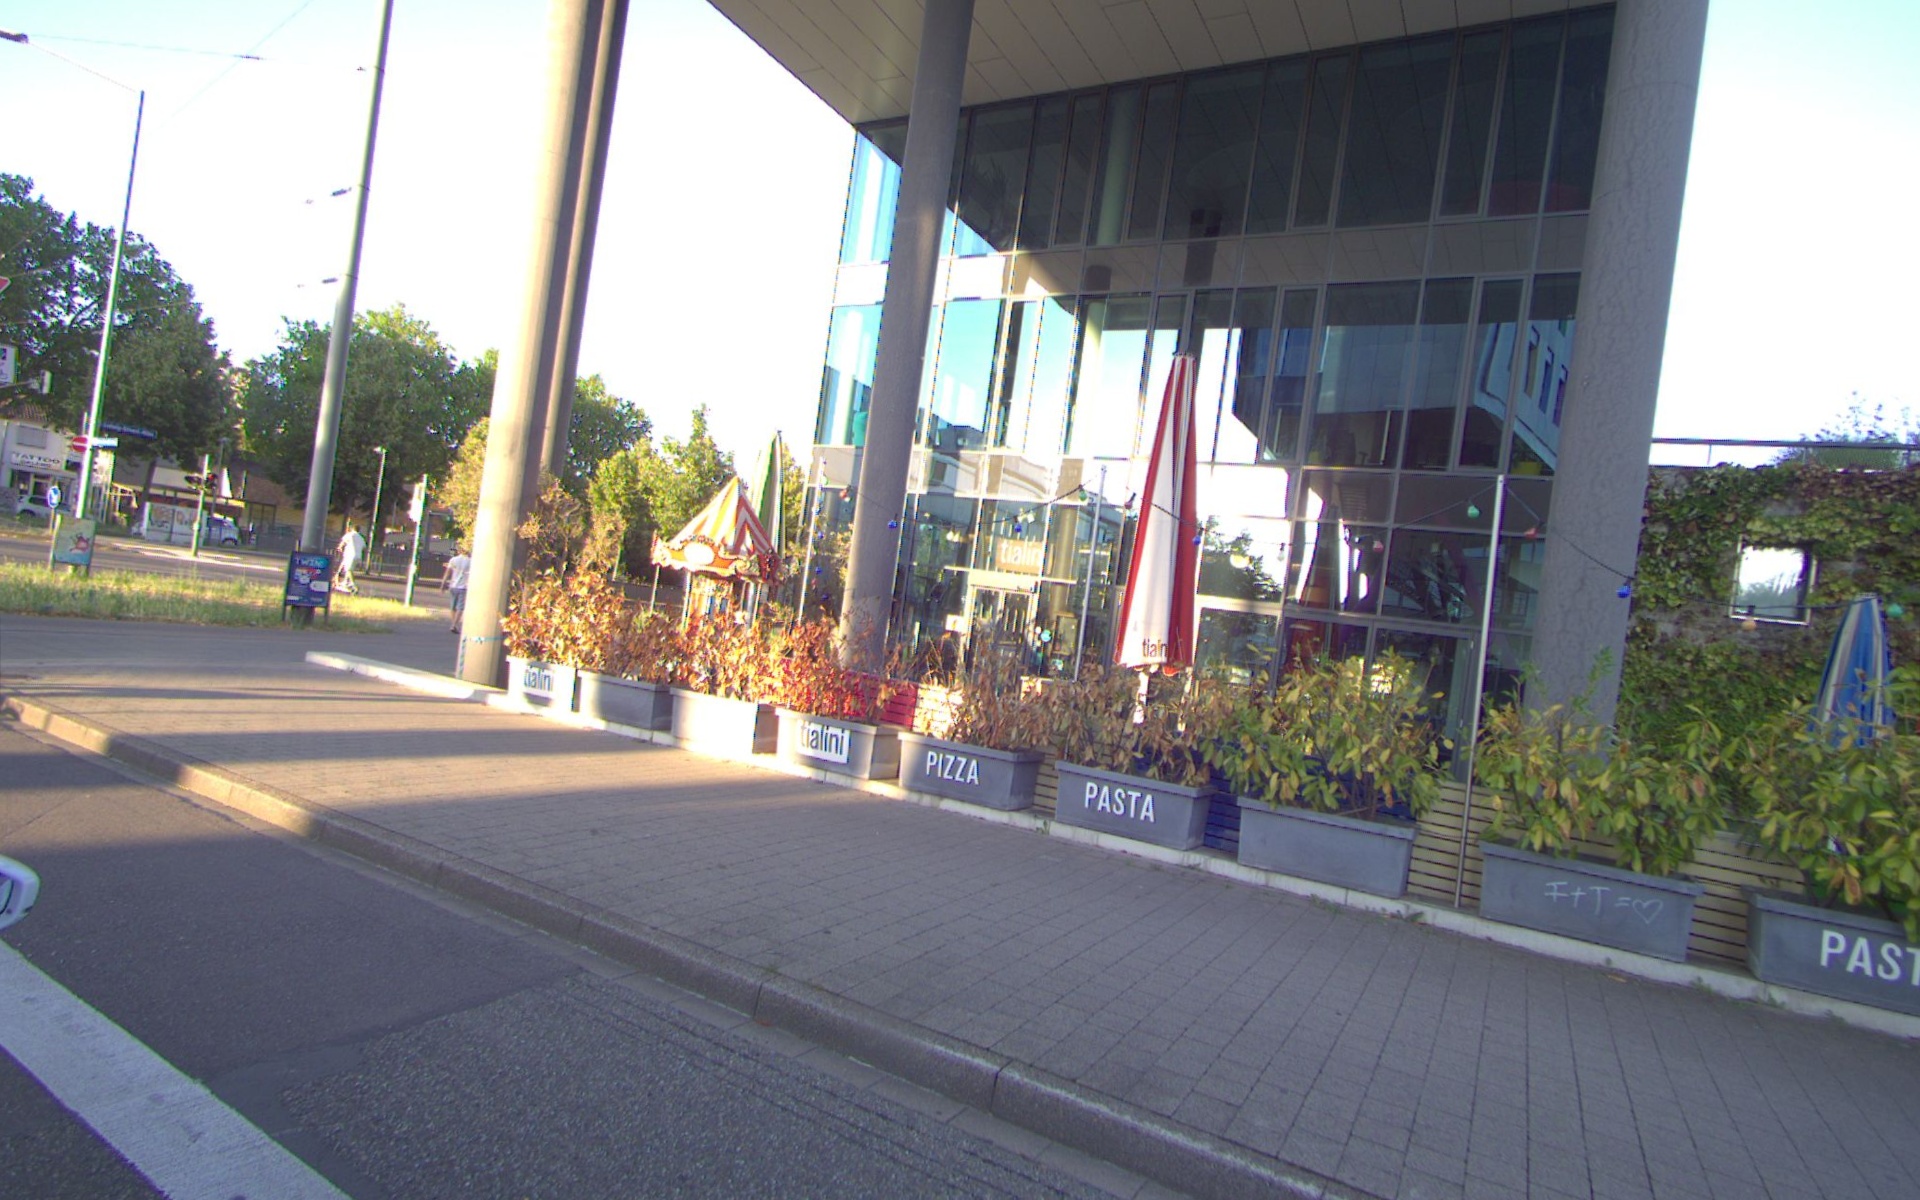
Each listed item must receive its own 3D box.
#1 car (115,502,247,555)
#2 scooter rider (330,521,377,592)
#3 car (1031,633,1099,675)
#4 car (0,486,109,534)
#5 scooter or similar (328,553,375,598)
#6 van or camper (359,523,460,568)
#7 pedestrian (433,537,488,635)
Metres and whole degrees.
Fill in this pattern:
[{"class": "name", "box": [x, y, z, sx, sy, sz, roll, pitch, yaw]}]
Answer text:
[{"class": "car", "box": [-37.395, -3.400, 48.432, 1.829, 1.748, 4.547, 7, -2, 27]}, {"class": "scooter rider", "box": [-17.000, -1.220, 28.196, 0.658, 1.876, 0.703, 7, -1, 31]}, {"class": "car", "box": [5.879, 3.021, 55.790, 1.826, 1.849, 4.390, 10, 0, 31]}, {"class": "car", "box": [-50.560, -4.980, 56.070, 1.968, 1.868, 4.236, 7, -2, 34]}, {"class": "scooter or similar", "box": [-17.032, -0.684, 28.166, 1.222, 1.103, 0.511, 7, -1, 32]}, {"class": "van or camper", "box": [-43.926, -4.328, 80.400, 2.229, 2.438, 6.569, 7, -2, 36]}, {"class": "pedestrian", "box": [-9.913, -0.283, 19.956, 0.755, 1.812, 0.796, 8, -1, -28]}]
